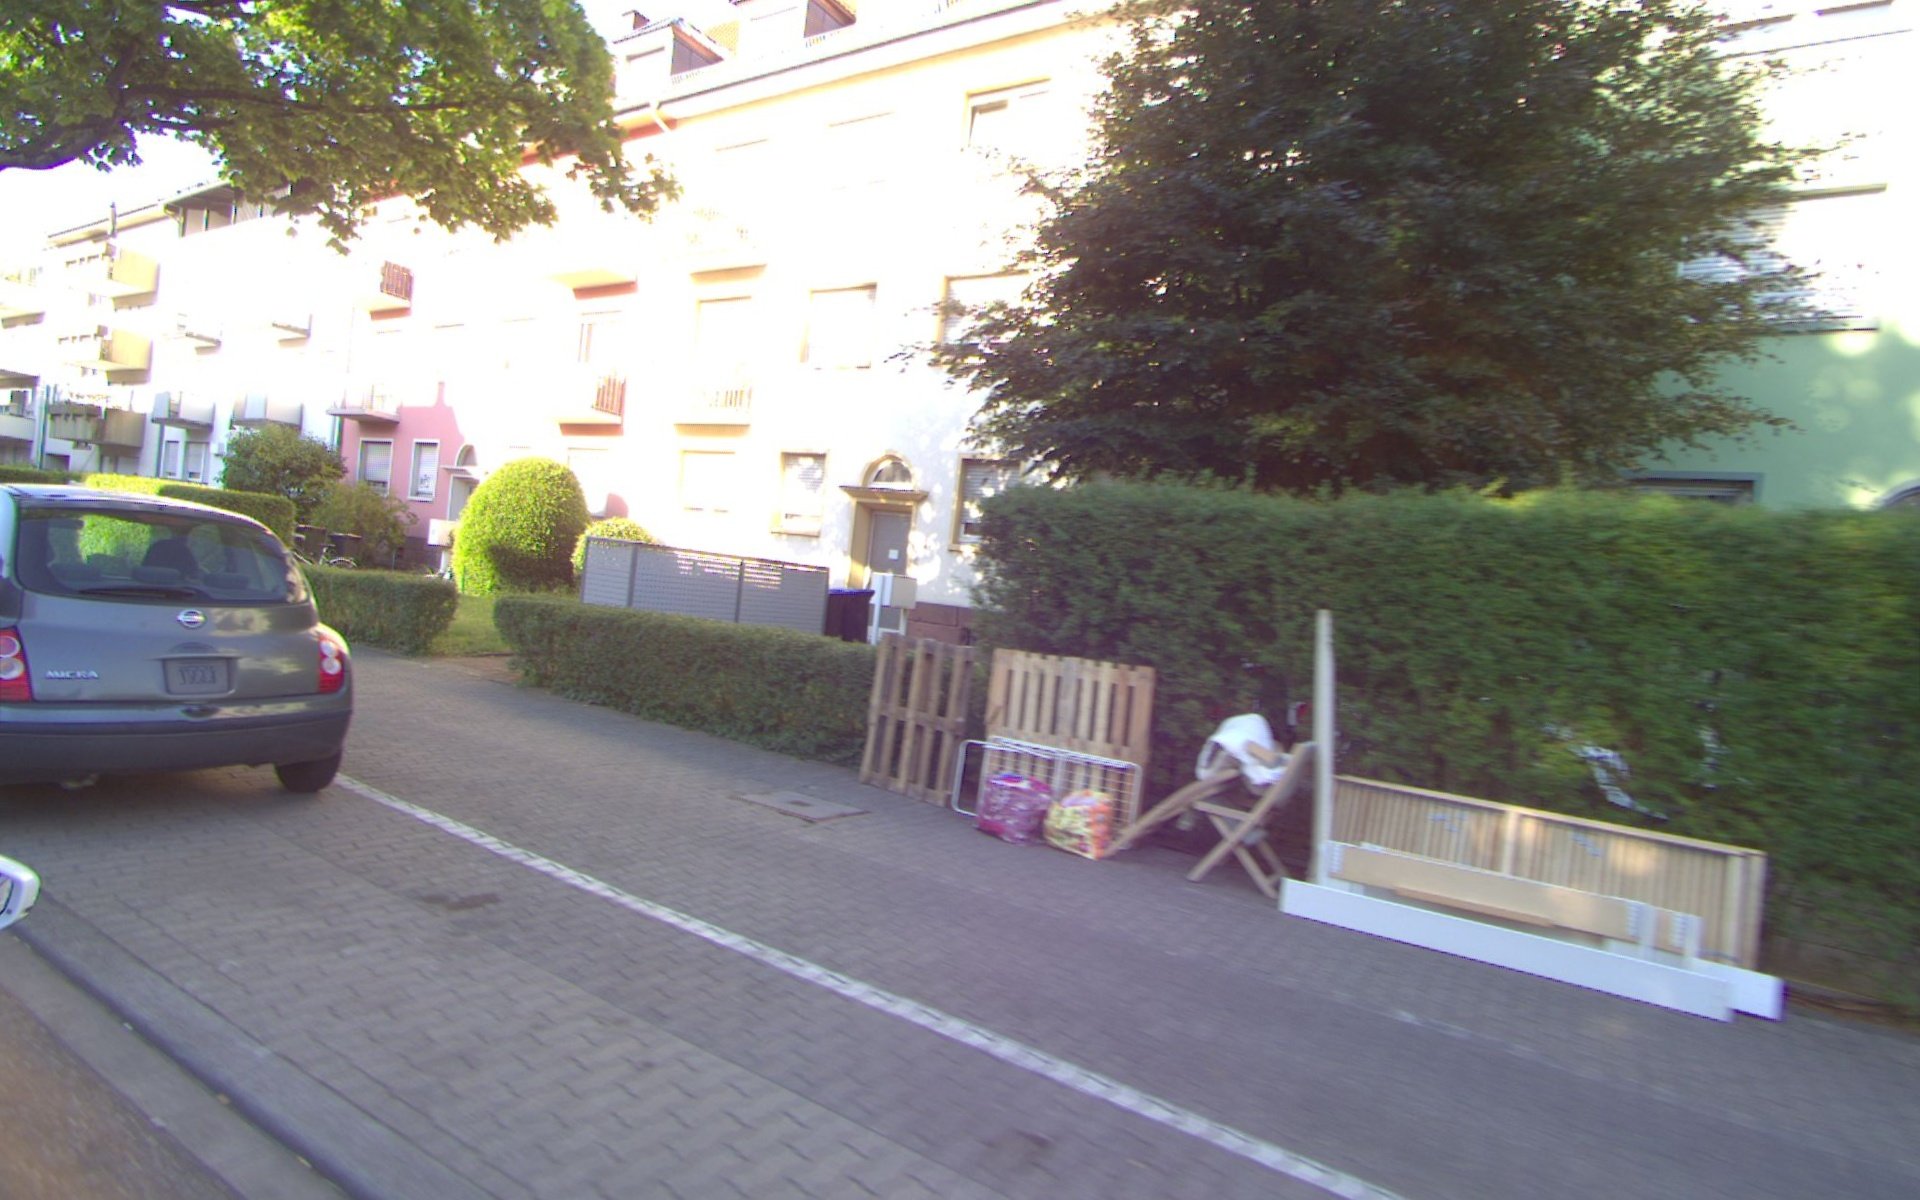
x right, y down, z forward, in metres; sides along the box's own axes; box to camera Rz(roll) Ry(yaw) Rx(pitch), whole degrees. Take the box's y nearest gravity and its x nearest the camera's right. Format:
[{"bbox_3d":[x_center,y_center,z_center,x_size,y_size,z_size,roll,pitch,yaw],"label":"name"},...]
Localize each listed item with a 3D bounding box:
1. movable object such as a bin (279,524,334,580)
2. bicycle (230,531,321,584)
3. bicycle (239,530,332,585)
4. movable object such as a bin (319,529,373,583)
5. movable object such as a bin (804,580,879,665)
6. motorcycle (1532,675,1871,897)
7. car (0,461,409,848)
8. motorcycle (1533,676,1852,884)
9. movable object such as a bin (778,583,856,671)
[{"bbox_3d":[-13.321,-0.976,20.513,0.783,1.015,0.611,7,1,33],"label":"movable object such as a bin"},{"bbox_3d":[-13.174,-0.805,19.389,0.359,0.864,1.360,7,0,33],"label":"bicycle"},{"bbox_3d":[-12.806,-0.800,19.129,0.363,0.864,1.370,7,0,34],"label":"bicycle"},{"bbox_3d":[-12.922,-0.923,21.163,0.783,1.015,0.611,7,1,33],"label":"movable object such as a bin"},{"bbox_3d":[-1.739,0.332,14.733,0.815,1.137,0.553,7,1,34],"label":"movable object such as a bin"},{"bbox_3d":[5.562,1.348,7.700,1.911,1.273,0.494,7,1,33],"label":"motorcycle"},{"bbox_3d":[-4.966,0.098,5.642,3.587,1.570,1.733,7,0,34],"label":"car"},{"bbox_3d":[5.830,1.384,8.153,1.911,1.273,0.494,7,1,33],"label":"motorcycle"},{"bbox_3d":[-2.021,0.385,14.231,0.815,1.137,0.553,7,1,34],"label":"movable object such as a bin"}]
